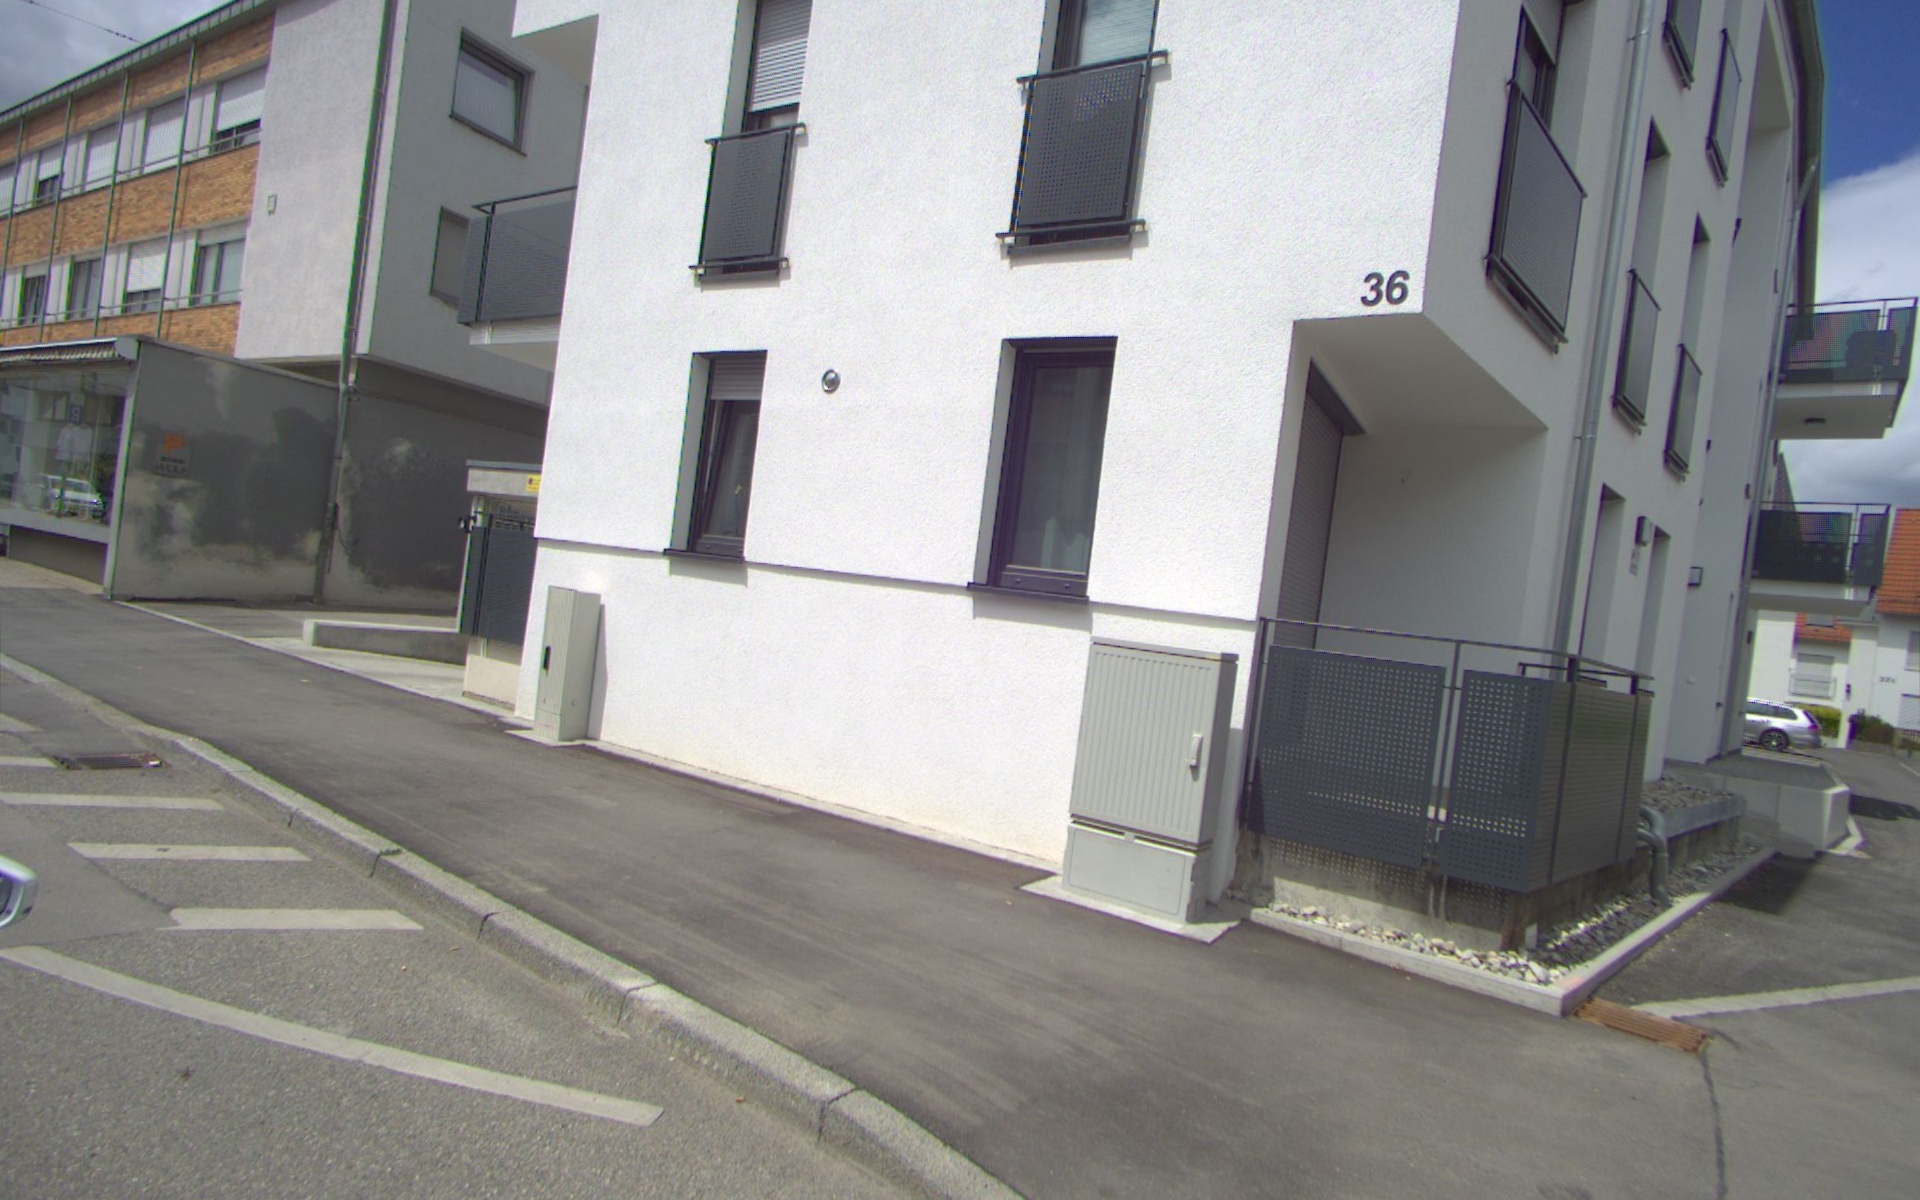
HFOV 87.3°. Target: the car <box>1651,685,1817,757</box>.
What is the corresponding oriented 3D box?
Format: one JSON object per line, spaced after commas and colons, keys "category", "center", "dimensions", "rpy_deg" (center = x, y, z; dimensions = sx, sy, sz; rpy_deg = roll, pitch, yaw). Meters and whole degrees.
{"category": "car", "center": [24.095, 3.736, 31.406], "dimensions": [3.880, 1.523, 1.690], "rpy_deg": [8, 0, 42]}
